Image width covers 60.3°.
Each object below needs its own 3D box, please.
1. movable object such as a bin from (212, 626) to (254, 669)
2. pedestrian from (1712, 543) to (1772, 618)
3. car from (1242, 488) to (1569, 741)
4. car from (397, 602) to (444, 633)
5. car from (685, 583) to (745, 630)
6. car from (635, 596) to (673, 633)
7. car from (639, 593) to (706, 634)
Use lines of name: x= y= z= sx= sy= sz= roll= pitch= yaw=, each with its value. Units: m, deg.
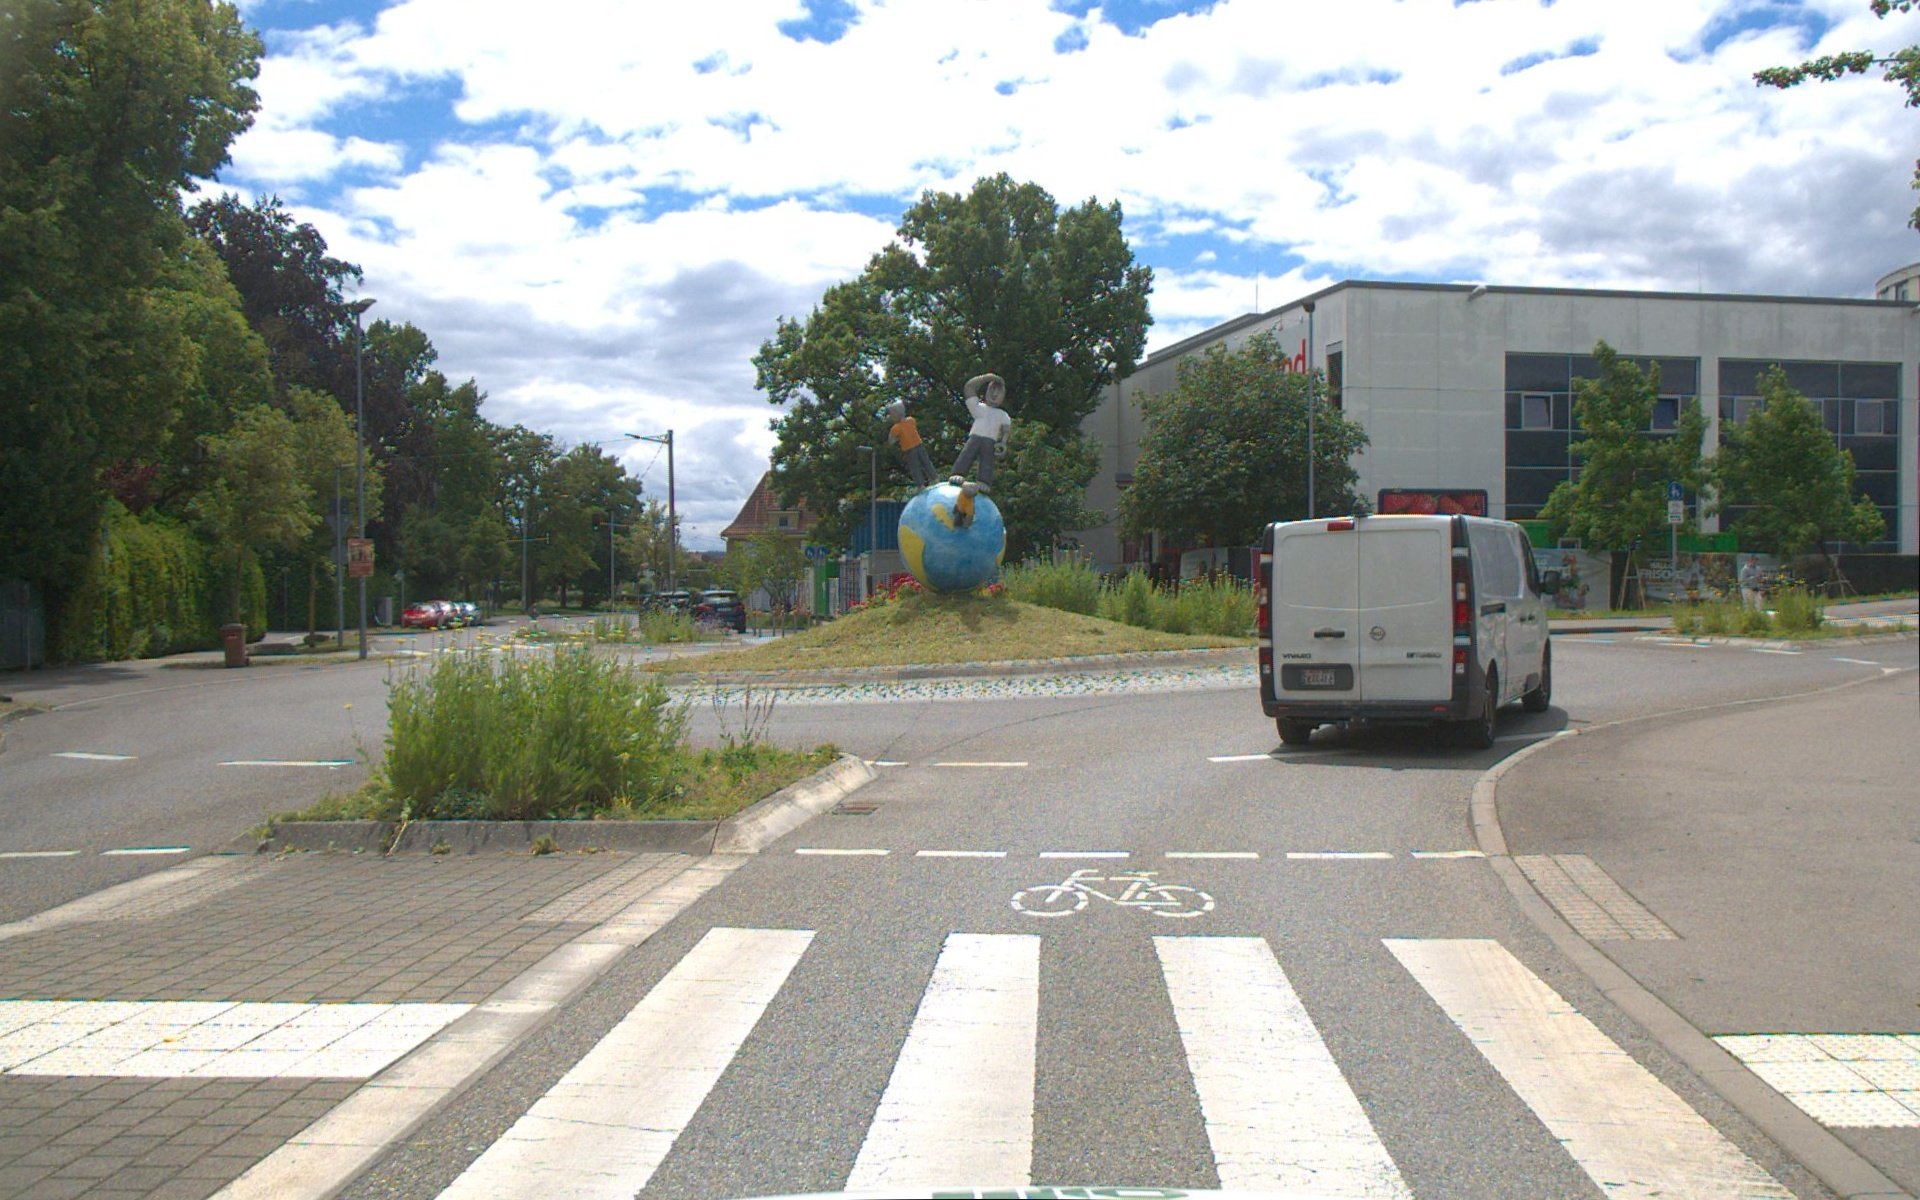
movable object such as a bin: x=-15.894 y=1.032 z=36.166 sx=0.617 sy=0.878 sz=0.640 roll=-2 pitch=1 yaw=-2
pedestrian: x=16.623 y=-0.415 z=35.146 sx=1.016 sy=1.568 sz=0.892 roll=1 pitch=0 yaw=34
car: x=4.376 y=0.090 z=15.596 sx=1.995 sy=1.979 sz=4.988 roll=1 pitch=1 yaw=27
car: x=-26.779 y=0.856 z=82.032 sx=2.033 sy=1.410 sz=4.022 roll=-1 pitch=1 yaw=-21
car: x=-8.823 y=0.204 z=59.374 sx=1.899 sy=1.564 sz=3.913 roll=0 pitch=1 yaw=-12
car: x=-15.601 y=0.709 z=84.458 sx=1.863 sy=1.775 sz=3.915 roll=0 pitch=1 yaw=-10
car: x=-11.643 y=0.516 z=66.779 sx=1.893 sy=1.526 sz=3.898 roll=-1 pitch=1 yaw=-23
